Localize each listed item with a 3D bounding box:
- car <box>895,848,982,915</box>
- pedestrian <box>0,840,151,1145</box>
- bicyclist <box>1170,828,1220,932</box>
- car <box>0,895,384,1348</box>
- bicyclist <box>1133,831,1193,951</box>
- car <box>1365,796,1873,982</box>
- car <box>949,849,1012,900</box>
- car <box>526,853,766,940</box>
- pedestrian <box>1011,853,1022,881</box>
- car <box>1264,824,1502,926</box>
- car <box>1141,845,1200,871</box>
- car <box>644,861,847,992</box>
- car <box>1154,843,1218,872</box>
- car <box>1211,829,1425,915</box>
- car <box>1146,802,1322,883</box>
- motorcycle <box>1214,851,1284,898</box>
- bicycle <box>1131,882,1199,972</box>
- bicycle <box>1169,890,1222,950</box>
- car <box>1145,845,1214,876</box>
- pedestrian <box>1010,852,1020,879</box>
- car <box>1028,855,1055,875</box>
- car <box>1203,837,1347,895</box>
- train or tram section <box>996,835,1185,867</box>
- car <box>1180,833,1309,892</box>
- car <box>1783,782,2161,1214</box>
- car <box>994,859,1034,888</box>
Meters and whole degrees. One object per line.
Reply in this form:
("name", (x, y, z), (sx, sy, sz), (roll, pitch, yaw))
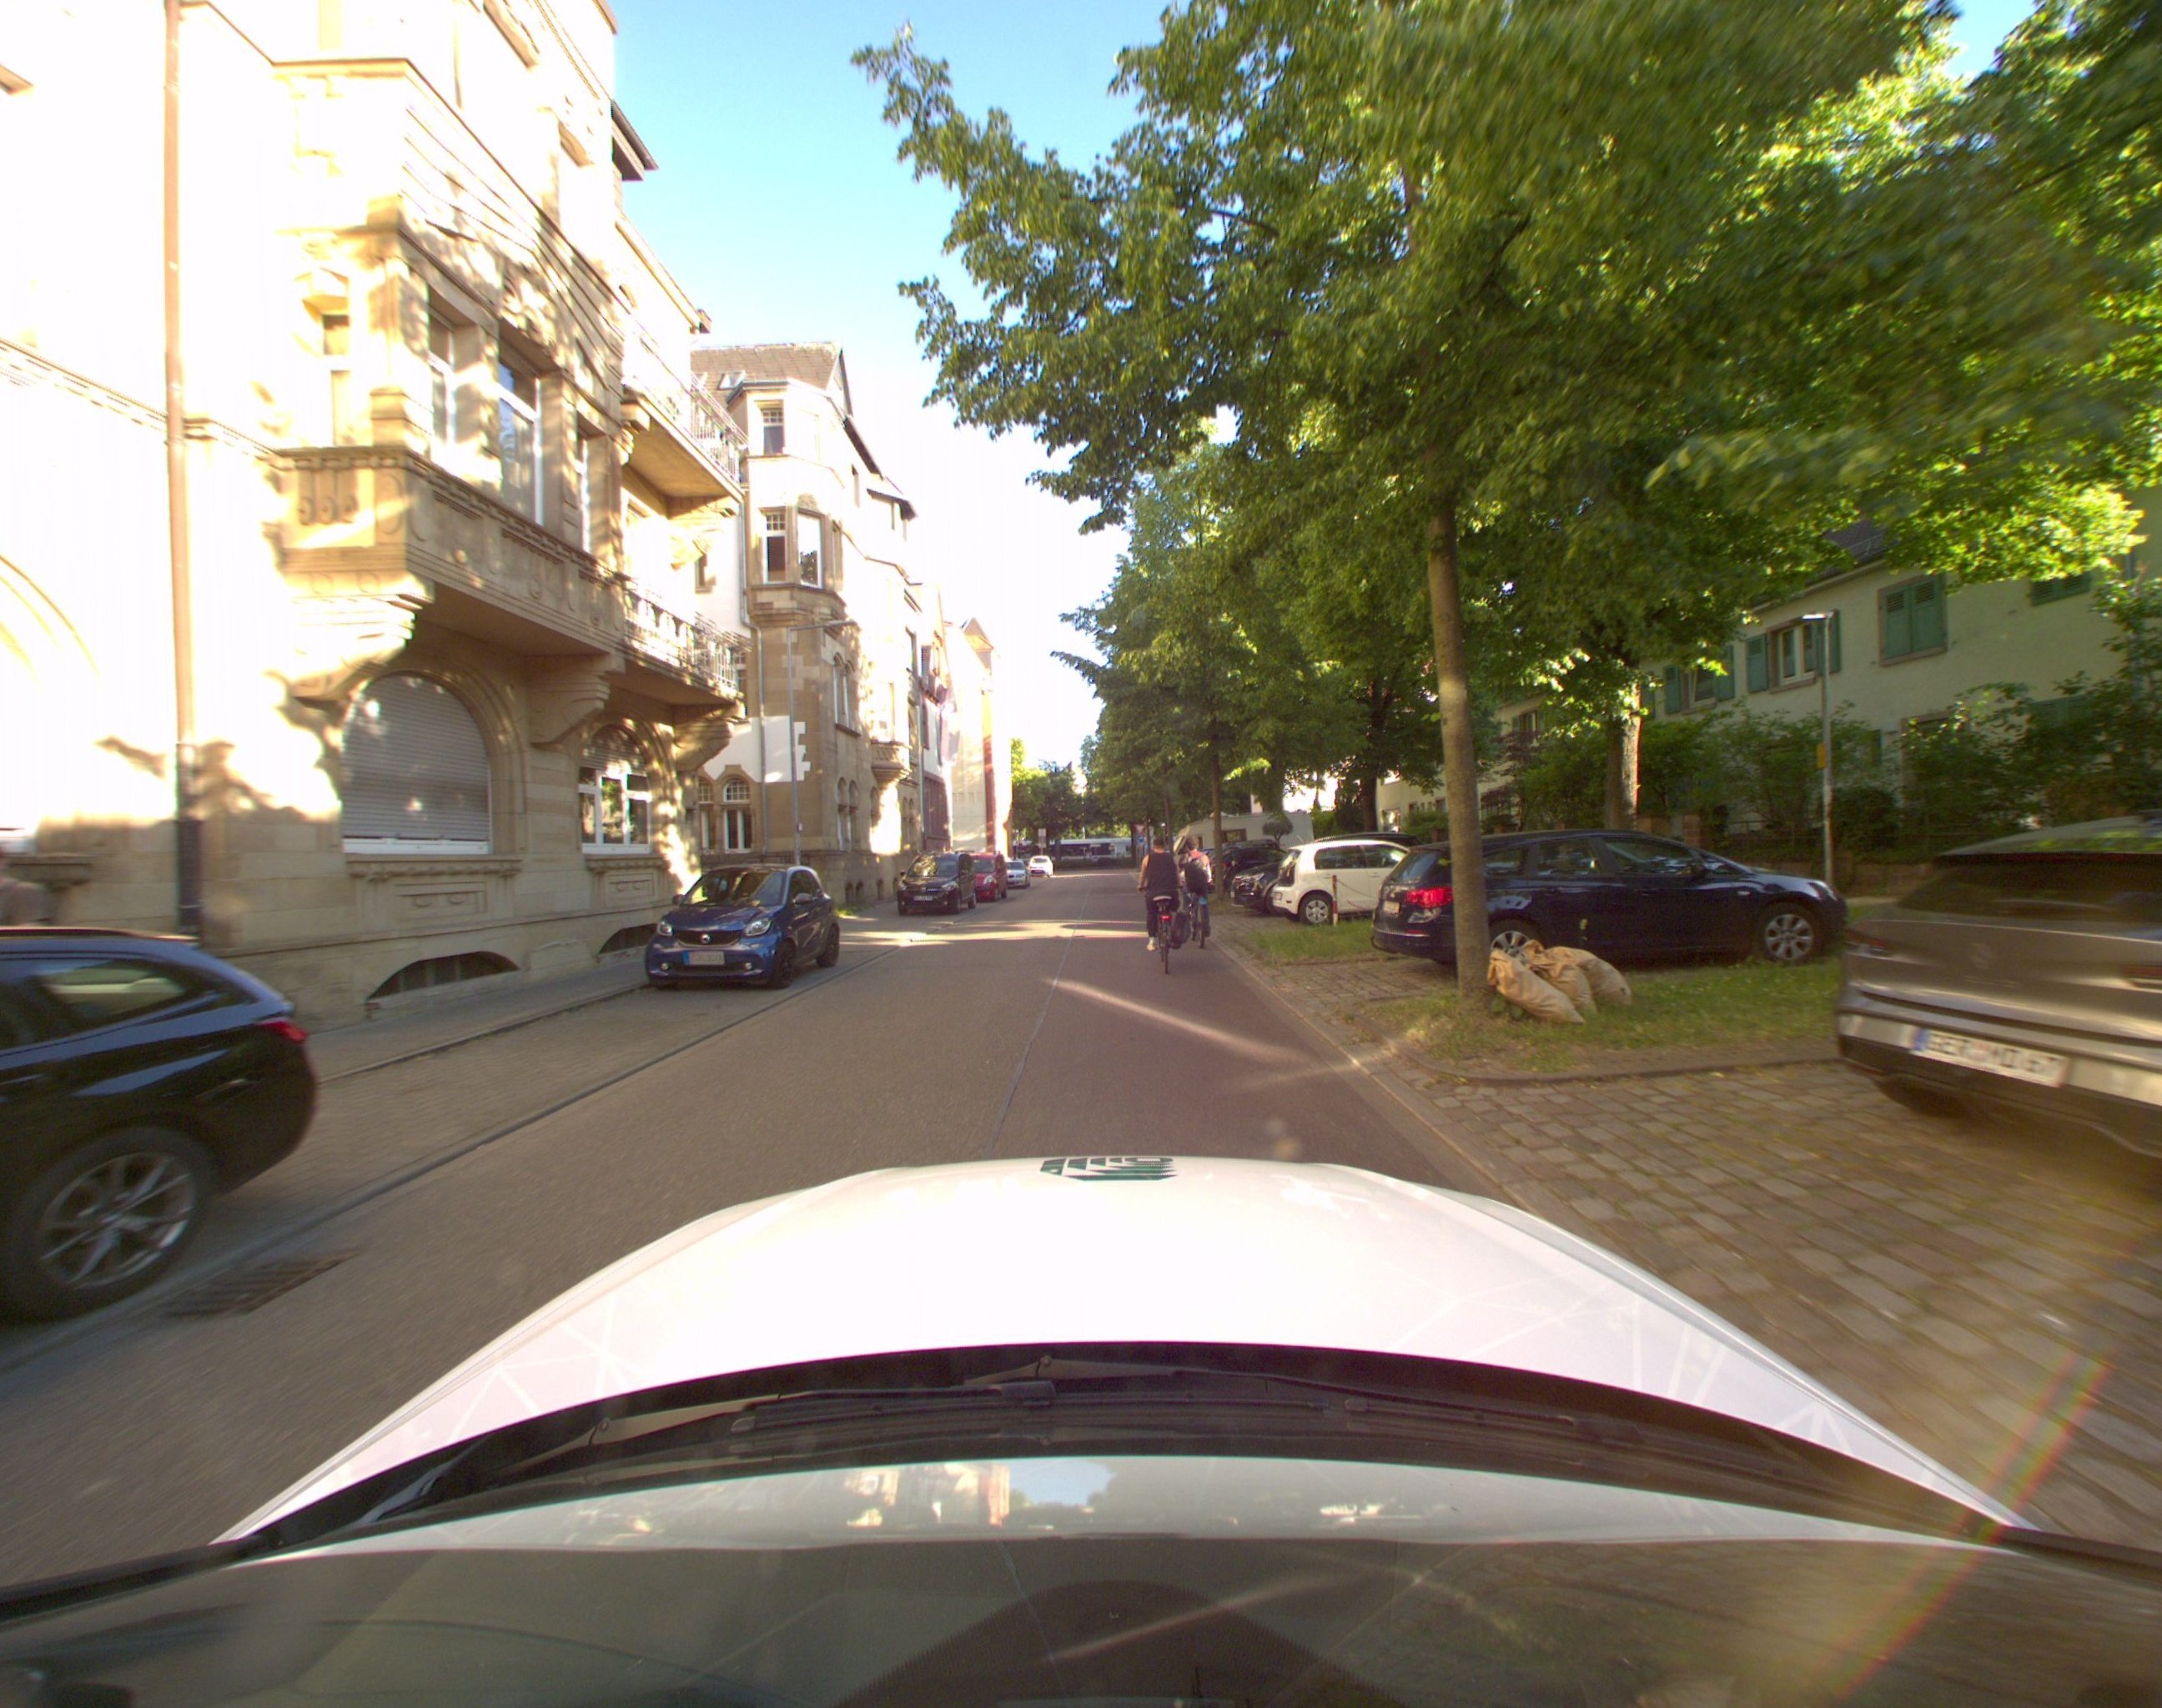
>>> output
("car", (-4.113, 0.730, 24.174), (1.634, 1.783, 4.357), (0, 1, 2))
("pedestrian", (-6.651, 0.804, 5.043), (0.934, 1.742, 0.735), (-1, -1, 1))
("bicyclist", (1.857, 0.412, 13.344), (0.686, 1.626, 0.999), (-1, 0, 2))
("car", (-4.496, 0.952, 1.914), (1.669, 1.430, 4.553), (0, 1, 2))
("bicyclist", (1.094, 0.488, 11.005), (0.727, 1.548, 0.884), (0, -1, 0))
("car", (5.464, 0.369, 8.721), (4.205, 1.600, 1.692), (-3, -2, 3))
("car", (-3.757, 0.715, 31.037), (1.682, 1.825, 4.275), (0, 1, 2))
("car", (-9.231, 0.867, 17.523), (4.185, 1.668, 1.718), (-2, 0, 0))
("pedestrian", (-3.990, 0.808, 50.268), (0.607, 1.679, 0.518), (-1, -1, 2))
("car", (5.457, 0.379, 15.108), (3.757, 1.599, 1.692), (-3, -1, 3))
("car", (6.369, 0.278, 58.321), (3.975, 1.803, 1.833), (-1, -1, -1))
("car", (-4.410, 0.881, 11.115), (1.590, 1.489, 2.736), (1, 1, 0))
("car", (6.957, 0.226, 54.175), (3.975, 1.803, 1.833), (-1, -1, -1))
("car", (5.026, 0.398, 17.695), (4.121, 1.600, 1.704), (-3, -2, 3))
("car", (6.654, -0.476, 36.072), (7.127, 2.978, 2.463), (-4, 0, -2))
("motorcycle", (4.331, 0.535, 21.084), (1.587, 1.141, 0.677), (-3, 0, 35))
("bicycle", (1.094, 0.926, 10.975), (0.735, 1.054, 1.956), (0, -1, 1))
("bicycle", (1.845, 1.047, 13.375), (0.631, 0.799, 1.833), (-3, 0, 2))
("car", (6.067, 0.397, 50.435), (3.975, 1.803, 1.833), (-1, -1, -1))
("pedestrian", (-4.336, 0.727, 53.627), (0.607, 1.762, 0.432), (-1, -1, 2))
("car", (-2.850, 0.768, 59.556), (1.577, 1.375, 4.133), (0, 1, 2))
("car", (6.133, 0.397, 26.063), (4.127, 1.600, 1.701), (-3, -2, -1))
("train or tram section", (1.453, -0.430, 101.943), (23.892, 3.708, 4.255), (-1, -1, -21))
("car", (5.692, 0.306, 28.670), (4.070, 1.650, 1.640), (-5, 0, -1))
("car", (5.606, 0.409, 3.364), (4.022, 1.454, 1.689), (-2, 0, -3))
("car", (-3.386, 0.980, 41.890), (1.577, 1.343, 4.133), (0, 1, 2))
